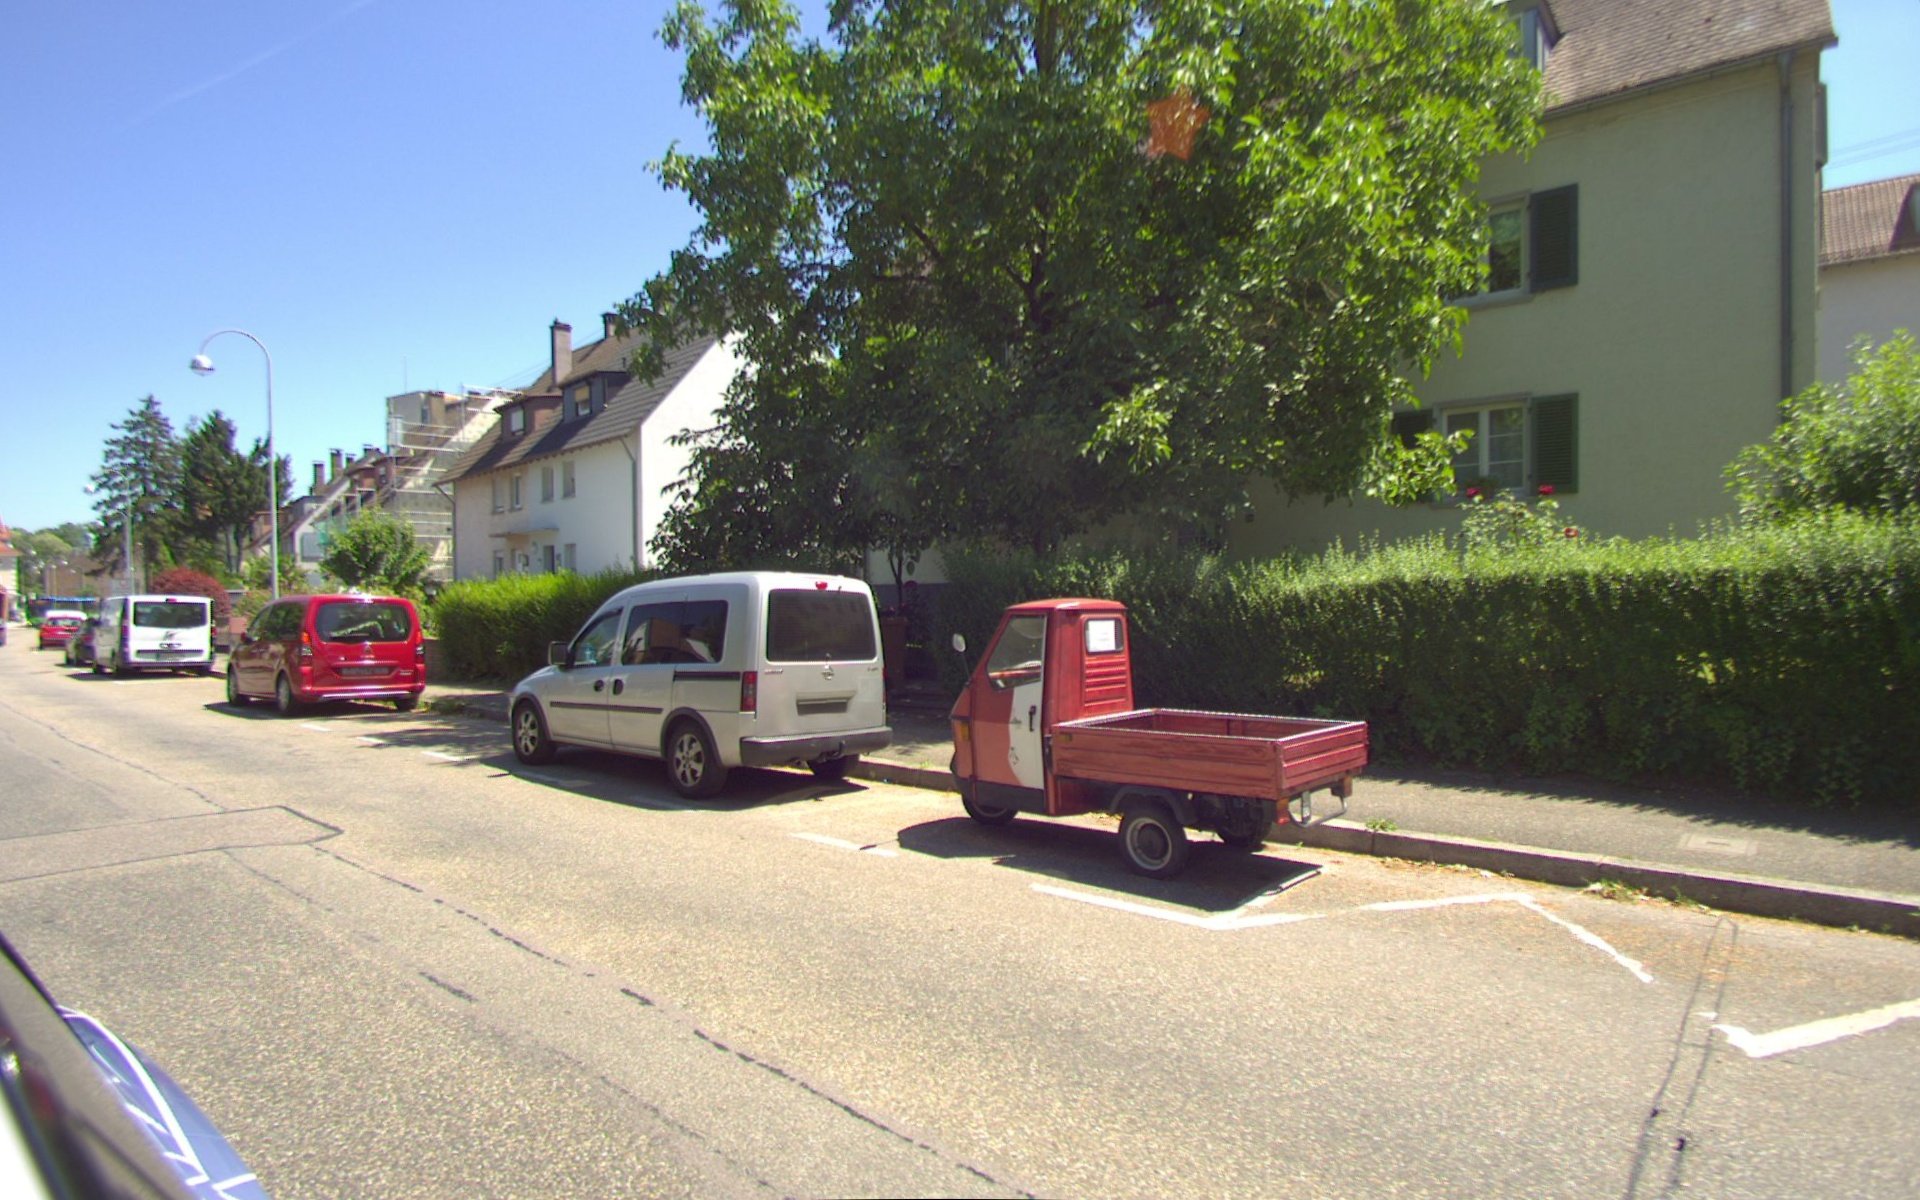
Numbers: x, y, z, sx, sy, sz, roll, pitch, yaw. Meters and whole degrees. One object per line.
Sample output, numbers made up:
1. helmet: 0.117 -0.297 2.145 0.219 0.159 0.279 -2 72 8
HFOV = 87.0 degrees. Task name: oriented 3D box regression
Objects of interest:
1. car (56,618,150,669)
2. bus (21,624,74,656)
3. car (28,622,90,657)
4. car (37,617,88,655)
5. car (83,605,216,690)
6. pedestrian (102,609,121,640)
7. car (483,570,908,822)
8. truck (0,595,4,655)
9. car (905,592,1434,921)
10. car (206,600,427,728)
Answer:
1. car: -25.322 1.250 29.860 4.237 1.395 1.679 -2 -3 44
2. bus: -97.759 4.194 108.591 2.865 3.103 12.592 -1 0 -36
3. car: -39.568 1.716 44.504 1.738 1.489 4.066 2 -2 -38
4. car: -42.939 1.726 48.445 1.702 1.749 3.892 2 -2 -42
5. car: -20.058 1.114 24.958 4.980 1.895 1.866 -2 -1 43
6. pedestrian: -54.089 1.551 64.506 0.680 1.903 1.021 -7 4 -36
7. car: -2.577 0.722 9.193 4.353 1.765 1.630 -1 -2 42
8. truck: -47.889 1.211 48.925 2.346 2.851 5.662 1 -1 -44
9. car: 1.161 0.772 6.158 2.839 1.515 1.396 -2 -3 42
10. car: -10.183 0.926 15.869 4.456 1.740 1.739 -1 -2 41
